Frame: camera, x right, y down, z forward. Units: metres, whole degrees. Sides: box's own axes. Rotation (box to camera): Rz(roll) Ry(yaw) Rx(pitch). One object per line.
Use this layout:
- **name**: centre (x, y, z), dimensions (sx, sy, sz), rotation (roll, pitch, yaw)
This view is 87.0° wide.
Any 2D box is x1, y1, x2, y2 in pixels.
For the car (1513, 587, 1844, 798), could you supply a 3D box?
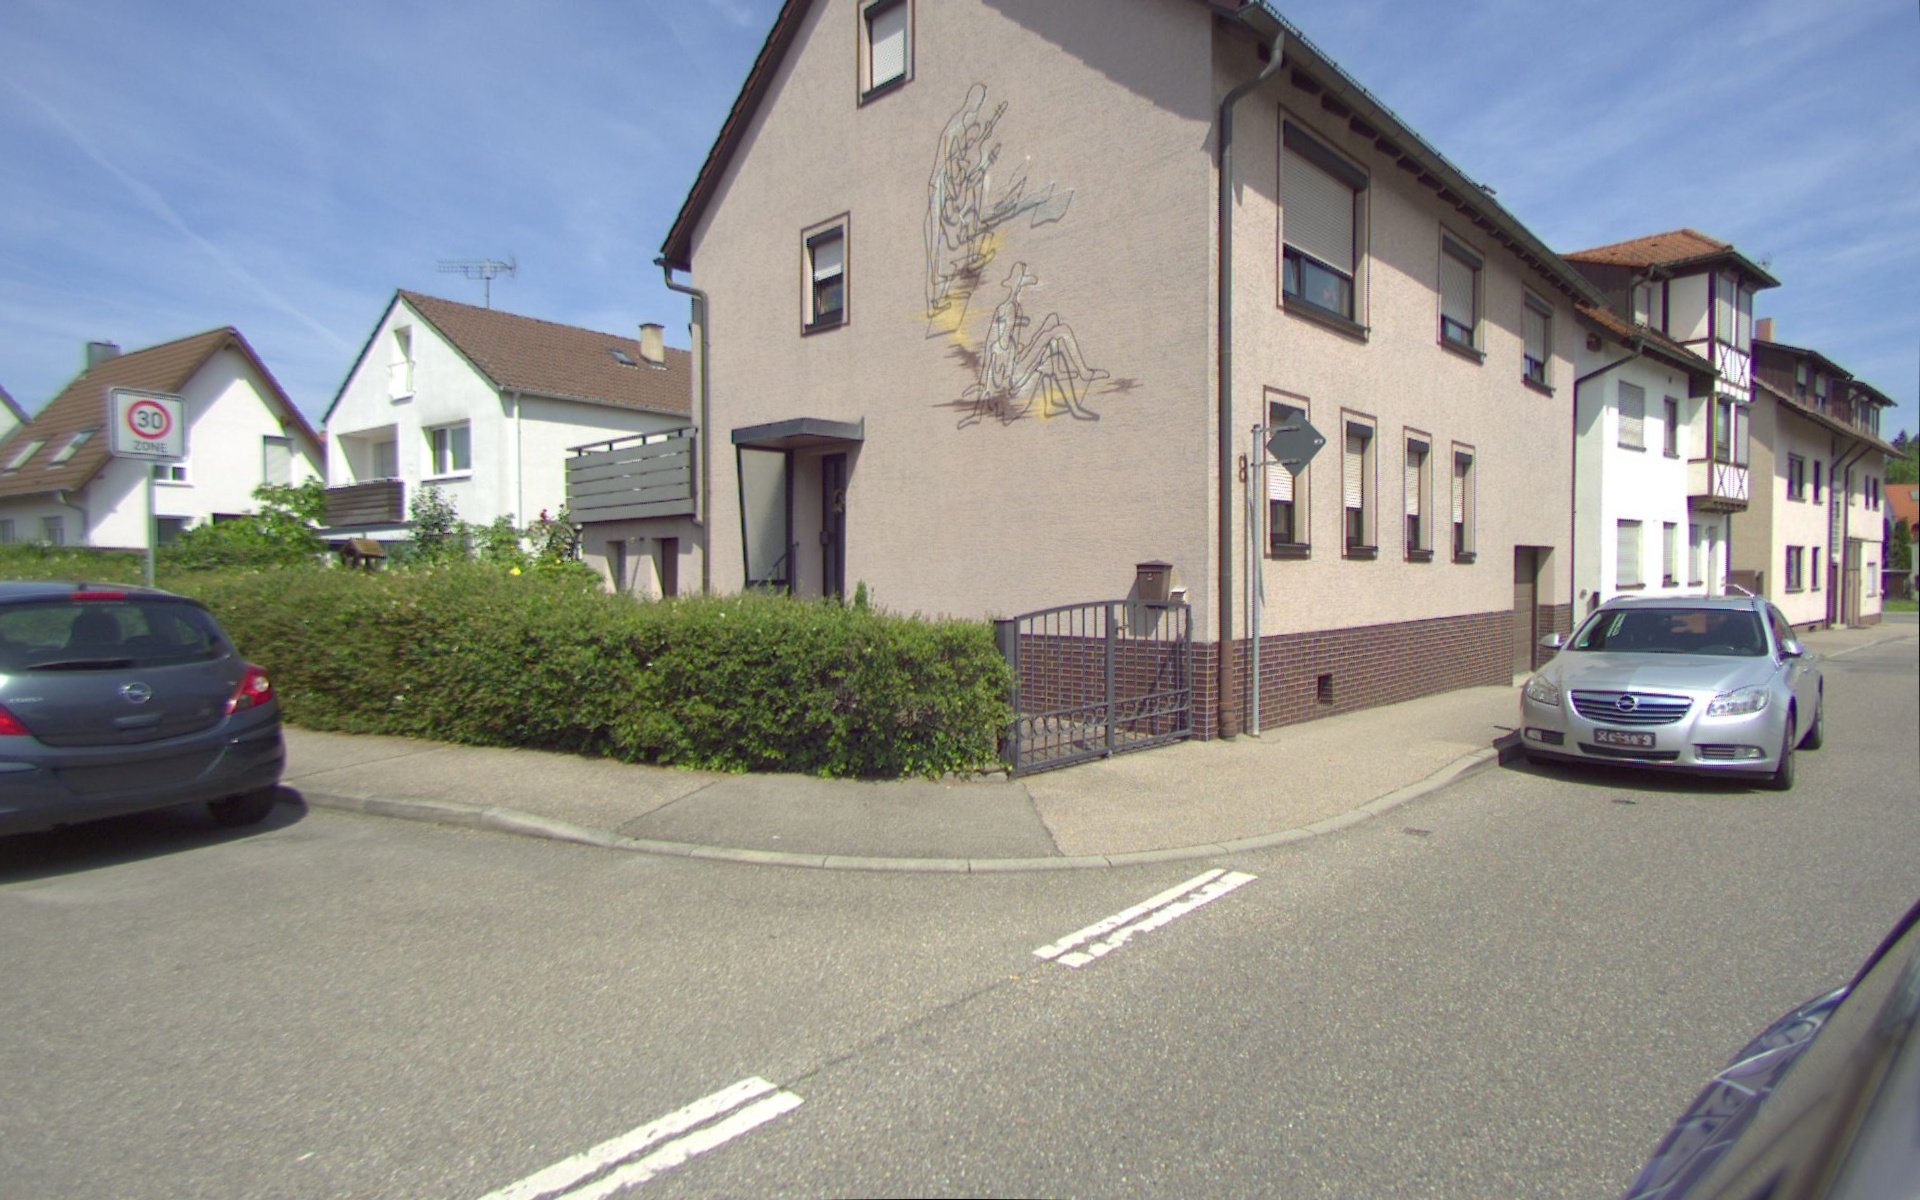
- **car**: centre (6.656, 0.626, 9.170), dimensions (1.786, 1.460, 4.267), rotation (-1, 0, 45)

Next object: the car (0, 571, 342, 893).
- **car**: centre (-5.839, 0.591, 6.229), dimensions (3.782, 1.507, 1.871), rotation (0, 1, 29)
